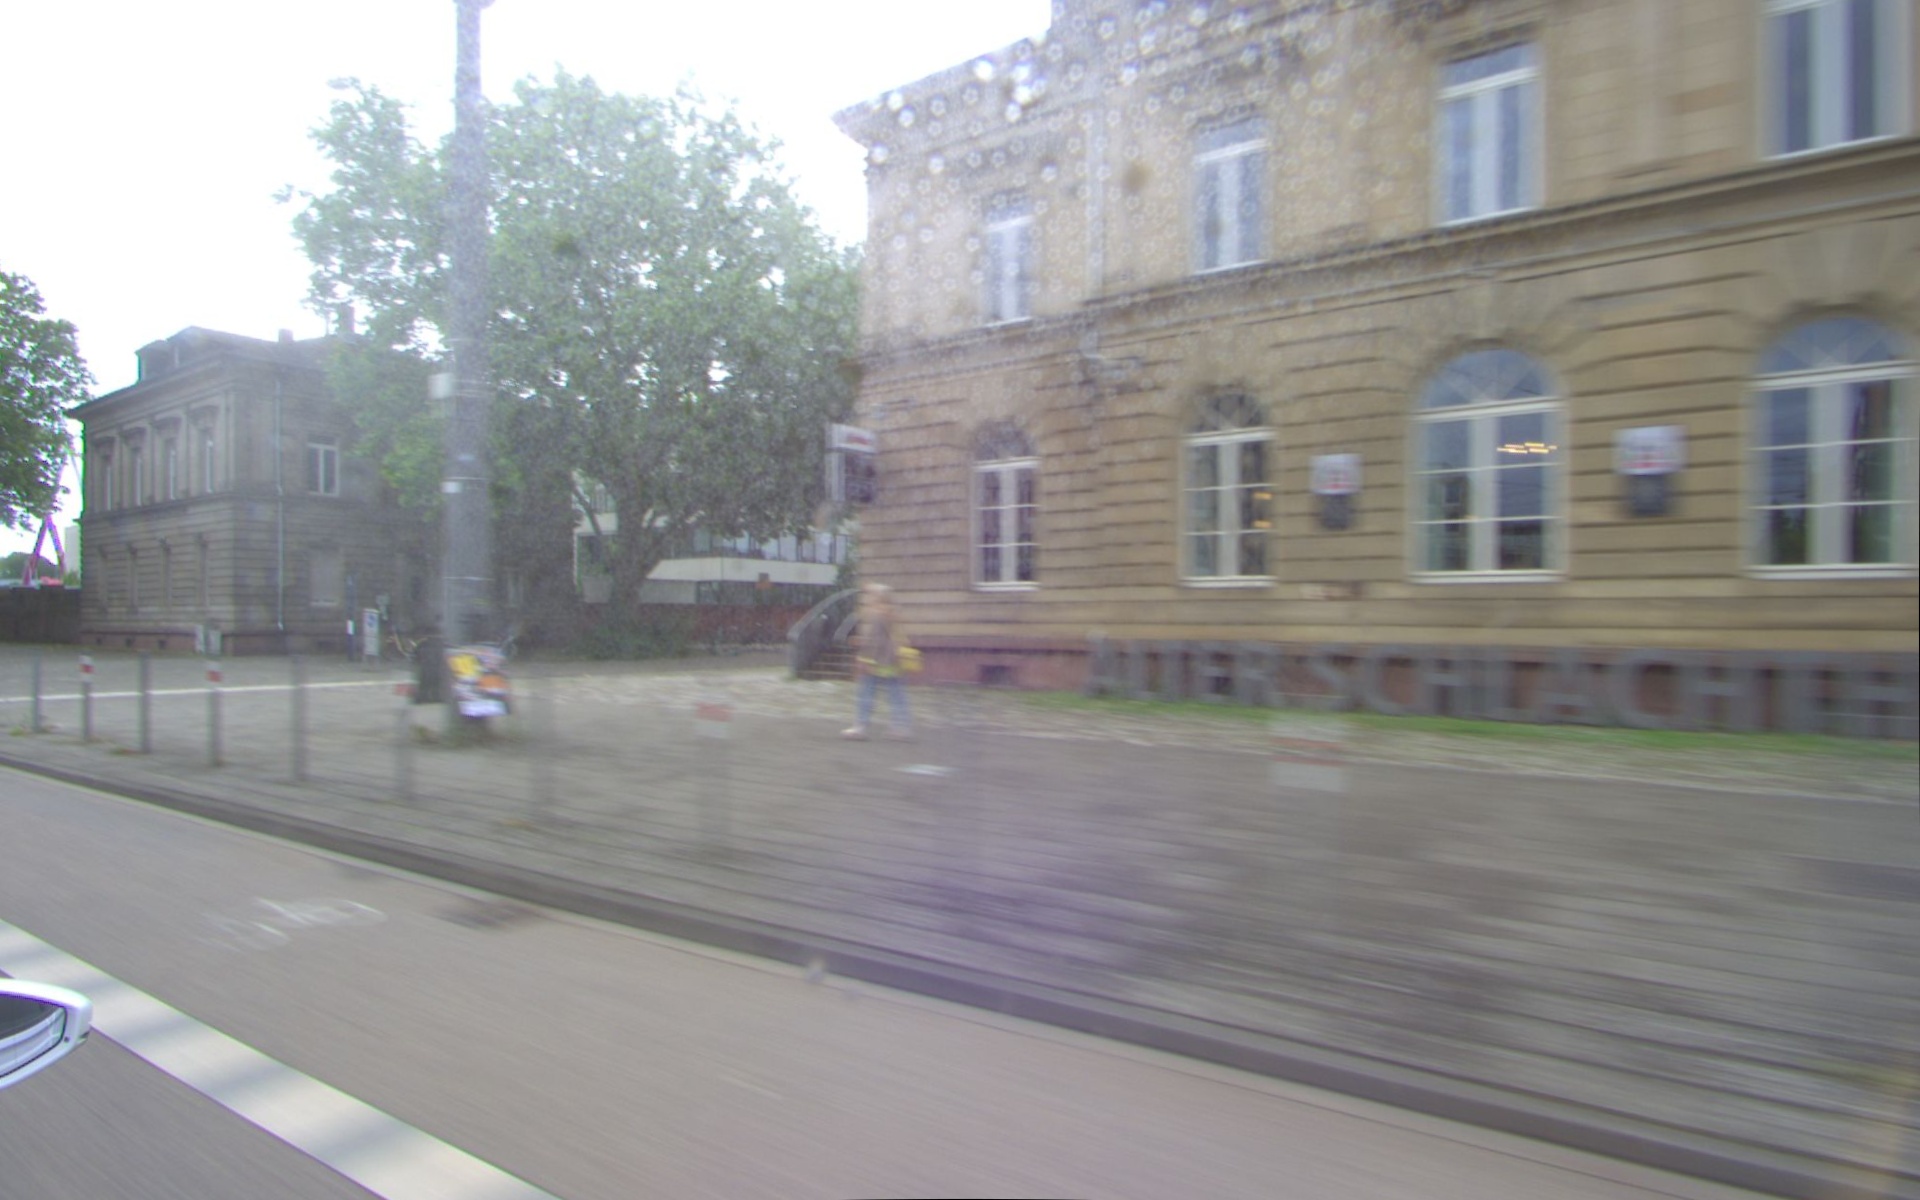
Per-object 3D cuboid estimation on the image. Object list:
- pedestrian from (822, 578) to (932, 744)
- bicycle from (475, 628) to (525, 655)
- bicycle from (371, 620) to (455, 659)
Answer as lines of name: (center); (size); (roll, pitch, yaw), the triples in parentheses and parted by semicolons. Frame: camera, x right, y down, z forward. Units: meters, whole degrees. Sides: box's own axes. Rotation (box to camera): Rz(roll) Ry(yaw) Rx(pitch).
pedestrian: (-0.905, 0.640, 10.890); (0.989, 1.700, 0.714); (-1, 0, 44)
bicycle: (-16.038, 1.426, 34.889); (2.052, 0.883, 0.608); (0, 0, 33)
bicycle: (-17.839, 1.268, 32.632); (3.357, 1.082, 0.898); (2, 1, 33)
